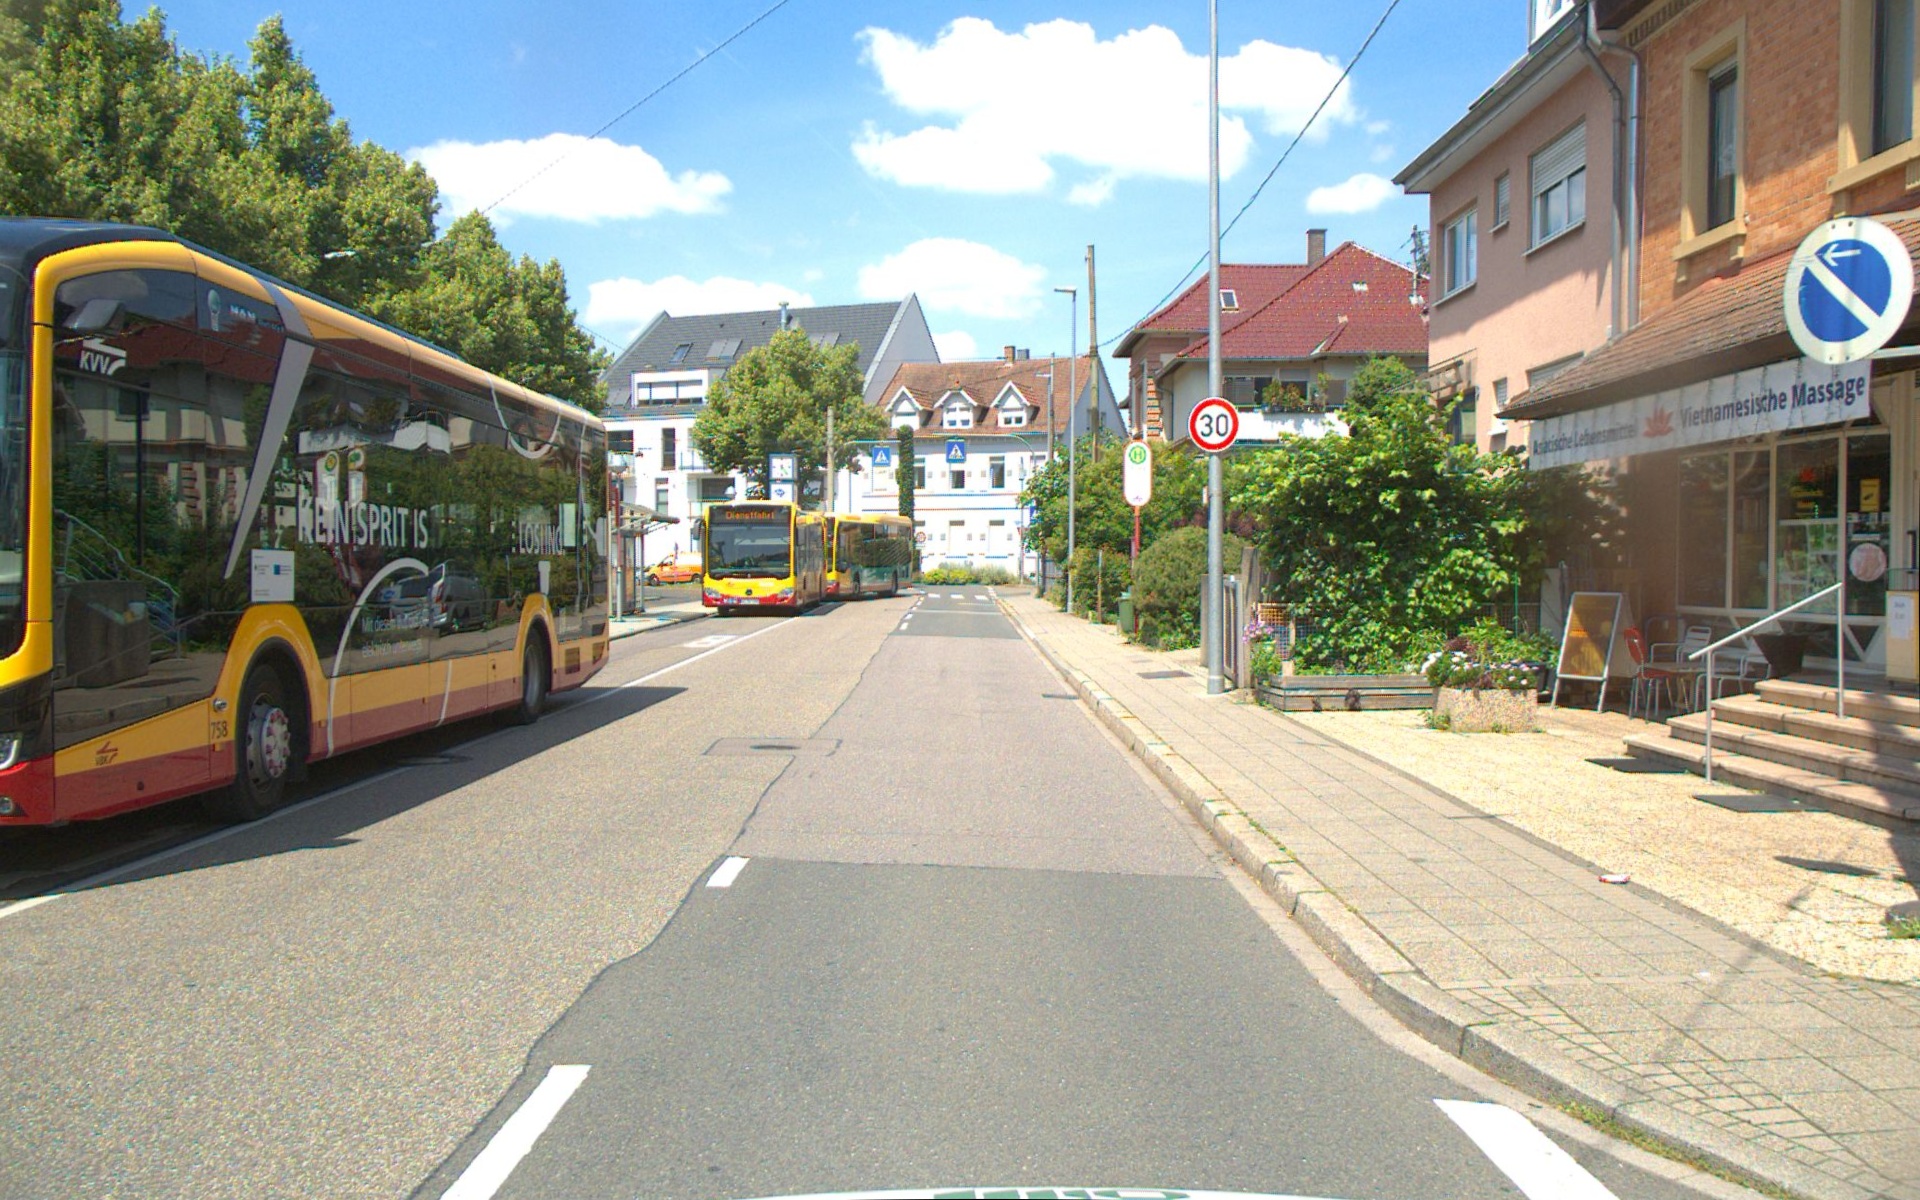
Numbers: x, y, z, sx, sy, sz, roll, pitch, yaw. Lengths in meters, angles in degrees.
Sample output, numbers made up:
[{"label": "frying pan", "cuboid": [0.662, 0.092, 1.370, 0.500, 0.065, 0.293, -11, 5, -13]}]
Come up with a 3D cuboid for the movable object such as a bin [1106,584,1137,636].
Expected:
[{"label": "movable object such as a bin", "cuboid": [2.956, 0.176, 30.319, 0.398, 0.922, 0.729, -3, 0, -3]}]

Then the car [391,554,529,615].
[{"label": "car", "cuboid": [-12.649, -0.380, 41.845, 3.230, 1.397, 1.460, 2, 0, -21]}]

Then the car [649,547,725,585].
[{"label": "car", "cuboid": [-15.886, -1.960, 96.141, 3.912, 2.049, 1.997, 2, 0, 29]}]

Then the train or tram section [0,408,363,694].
[{"label": "train or tram section", "cuboid": [-13.950, -0.783, 27.532, 2.903, 3.706, 13.994, 2, 1, 0]}]

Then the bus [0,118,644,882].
[{"label": "bus", "cuboid": [-5.194, -0.479, 13.262, 2.838, 3.304, 12.196, 2, 0, 0]}]

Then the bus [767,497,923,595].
[{"label": "bus", "cuboid": [-4.109, -2.060, 62.927, 2.720, 3.264, 12.319, 2, 2, 11]}]

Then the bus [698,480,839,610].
[{"label": "bus", "cuboid": [-5.468, -1.555, 49.434, 2.848, 3.304, 12.118, 2, 1, -1]}]
